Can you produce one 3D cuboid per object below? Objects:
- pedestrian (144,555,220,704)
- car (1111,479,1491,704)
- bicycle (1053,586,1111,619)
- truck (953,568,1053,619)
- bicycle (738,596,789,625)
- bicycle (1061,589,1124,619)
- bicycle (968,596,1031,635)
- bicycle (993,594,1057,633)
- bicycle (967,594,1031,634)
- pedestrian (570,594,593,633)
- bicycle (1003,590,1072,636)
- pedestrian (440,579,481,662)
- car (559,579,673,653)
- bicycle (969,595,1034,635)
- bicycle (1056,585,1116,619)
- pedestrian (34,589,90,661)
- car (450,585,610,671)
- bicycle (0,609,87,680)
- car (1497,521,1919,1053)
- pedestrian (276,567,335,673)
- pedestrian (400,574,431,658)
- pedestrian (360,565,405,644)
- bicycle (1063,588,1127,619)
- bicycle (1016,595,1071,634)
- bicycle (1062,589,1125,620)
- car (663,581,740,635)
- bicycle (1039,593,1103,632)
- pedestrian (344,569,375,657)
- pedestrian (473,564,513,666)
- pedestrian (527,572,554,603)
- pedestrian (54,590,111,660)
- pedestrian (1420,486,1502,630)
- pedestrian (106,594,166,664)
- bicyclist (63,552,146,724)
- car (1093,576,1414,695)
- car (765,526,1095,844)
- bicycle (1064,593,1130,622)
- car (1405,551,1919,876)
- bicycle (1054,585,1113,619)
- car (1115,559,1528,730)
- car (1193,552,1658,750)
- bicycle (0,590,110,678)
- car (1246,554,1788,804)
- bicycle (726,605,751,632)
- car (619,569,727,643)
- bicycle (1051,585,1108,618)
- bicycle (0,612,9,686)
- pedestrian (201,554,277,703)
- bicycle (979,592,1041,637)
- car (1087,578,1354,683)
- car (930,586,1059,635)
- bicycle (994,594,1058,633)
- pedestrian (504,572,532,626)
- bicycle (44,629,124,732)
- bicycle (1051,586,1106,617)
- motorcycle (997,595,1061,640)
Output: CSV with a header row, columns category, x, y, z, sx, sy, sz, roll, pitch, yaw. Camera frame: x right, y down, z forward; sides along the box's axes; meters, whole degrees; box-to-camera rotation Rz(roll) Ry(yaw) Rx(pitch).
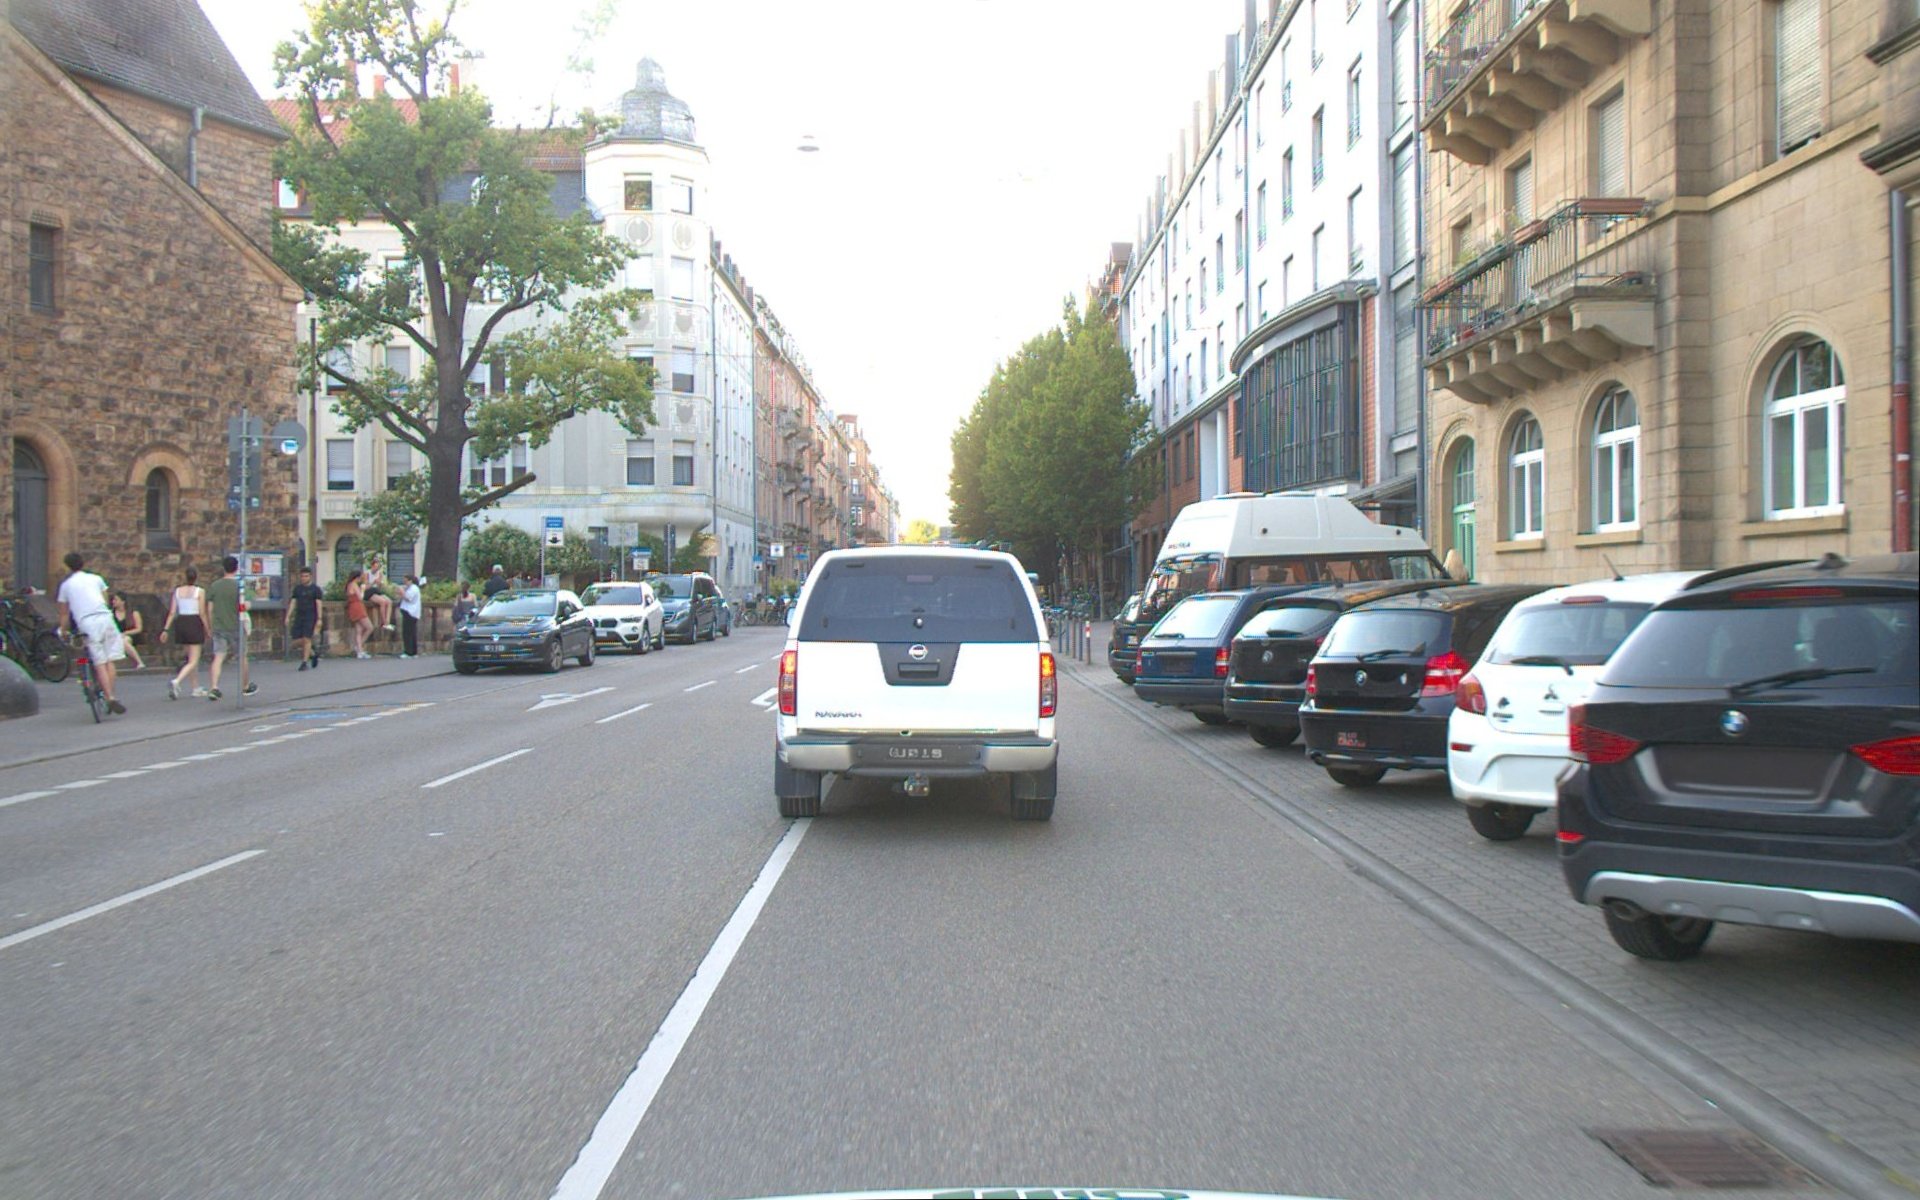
category,x,y,z,sx,sy,sz,roll,pitch,yaw
pedestrian,-10.106,0.375,21.508,0.561,1.889,0.988,0,0,-4
car,4.379,-0.106,21.073,4.660,2.591,1.899,-1,-1,-30
bicycle,5.296,0.125,71.839,2.482,1.403,0.599,-1,0,2
truck,2.691,-0.400,104.140,6.190,3.029,2.264,0,-3,1
bicycle,-7.916,0.406,66.530,2.068,1.114,0.501,1,1,24
bicycle,5.343,0.163,66.752,2.482,1.187,0.562,-1,0,2
bicycle,1.189,0.457,49.647,1.820,1.084,0.445,-2,0,-2
bicycle,1.986,0.409,50.350,1.873,1.084,0.524,-2,0,-2
bicycle,1.145,0.406,48.896,1.820,1.084,0.445,-2,0,-2
pedestrian,-14.402,0.510,62.879,0.687,1.495,0.783,-1,0,-2
bicycle,2.148,0.356,46.041,1.821,1.166,0.659,-4,0,-1
pedestrian,-9.684,0.393,32.072,0.570,1.579,0.839,0,0,-4
car,-7.921,0.340,38.478,1.833,1.619,4.467,-1,0,-2
bicycle,1.187,0.431,47.847,1.820,1.056,0.471,-2,0,-2
bicycle,5.298,0.101,69.756,2.482,1.403,0.599,-1,0,2
pedestrian,-13.617,0.375,25.075,0.729,1.066,0.515,0,0,-31
car,-7.812,0.470,30.470,1.746,1.460,4.316,-1,0,1
bicycle,-13.525,0.636,23.845,1.838,1.006,0.442,-1,0,15
car,4.178,0.504,6.782,4.059,1.635,1.791,-3,0,-39
pedestrian,-11.058,0.328,27.948,0.699,1.755,0.692,-1,0,0
pedestrian,-10.839,0.306,32.912,0.411,1.650,0.540,0,0,-40
pedestrian,-11.604,0.091,33.240,0.637,1.572,0.585,0,0,23
bicycle,5.284,0.144,64.868,2.482,1.187,0.562,-1,0,2
bicycle,2.391,0.414,47.314,1.509,1.056,0.471,-2,0,-2
bicycle,5.332,0.170,66.141,2.482,1.187,0.562,-1,0,2
car,-7.886,0.223,50.731,1.606,1.583,4.005,0,0,2
bicycle,3.295,0.358,49.237,1.820,1.084,0.524,-2,0,-2
pedestrian,-11.785,0.256,32.447,0.411,1.704,0.540,0,0,-40
pedestrian,-9.083,0.283,32.192,0.570,1.938,0.802,-1,0,-4
pedestrian,-13.707,-0.404,54.028,0.692,0.997,0.836,-1,0,-2
pedestrian,-13.685,0.384,25.801,0.487,1.066,0.608,0,0,20
pedestrian,7.534,-0.634,24.921,0.596,2.044,0.858,11,1,1
pedestrian,-12.935,0.449,25.977,0.505,1.074,0.700,0,0,16
bicyclist,-9.823,0.415,18.976,0.700,1.913,0.930,1,0,-36
car,4.202,0.451,23.594,4.294,1.529,1.895,-1,0,-29
car,-0.209,0.498,12.005,1.894,1.826,4.621,1,0,-1
bicycle,5.307,0.280,64.246,2.482,0.976,0.680,-4,0,2
car,4.704,0.526,10.011,4.013,1.524,1.732,-3,0,-36
bicycle,5.268,0.099,70.470,2.482,1.403,0.599,-1,0,2
car,4.007,0.422,18.142,4.341,1.512,1.824,-3,1,-31
car,4.364,0.430,15.418,4.063,1.573,1.778,-2,-2,-29
bicycle,-13.373,0.494,24.299,1.691,1.270,0.437,-1,0,14
car,4.267,0.500,12.481,3.989,1.456,1.845,-4,0,-35
bicycle,-8.750,0.727,65.428,0.414,1.030,1.720,0,1,13
car,-7.836,0.136,45.600,1.952,1.899,5.290,0,0,1
bicycle,5.299,0.060,73.328,2.482,1.403,0.599,-1,0,2
bicycle,-13.939,0.676,22.660,1.838,1.006,0.370,-1,0,14
pedestrian,-9.446,0.361,21.683,0.634,1.912,0.890,0,0,-4
bicycle,1.415,0.397,46.756,1.673,1.196,0.471,-2,0,-2
car,4.116,0.434,25.974,4.017,1.518,1.705,-1,0,-32
car,1.141,0.328,54.568,3.945,1.533,1.753,-1,0,-30
bicycle,1.927,0.401,48.477,1.820,1.056,0.402,-2,0,-2
pedestrian,-14.422,-0.026,53.993,0.692,1.751,0.836,-1,0,-2
bicycle,-9.933,0.880,18.715,0.547,1.030,2.161,1,0,-35
bicycle,5.400,0.058,75.436,2.482,1.403,0.599,-1,0,2
motorcycle,1.867,0.467,44.949,1.614,1.121,0.646,-3,0,-9
